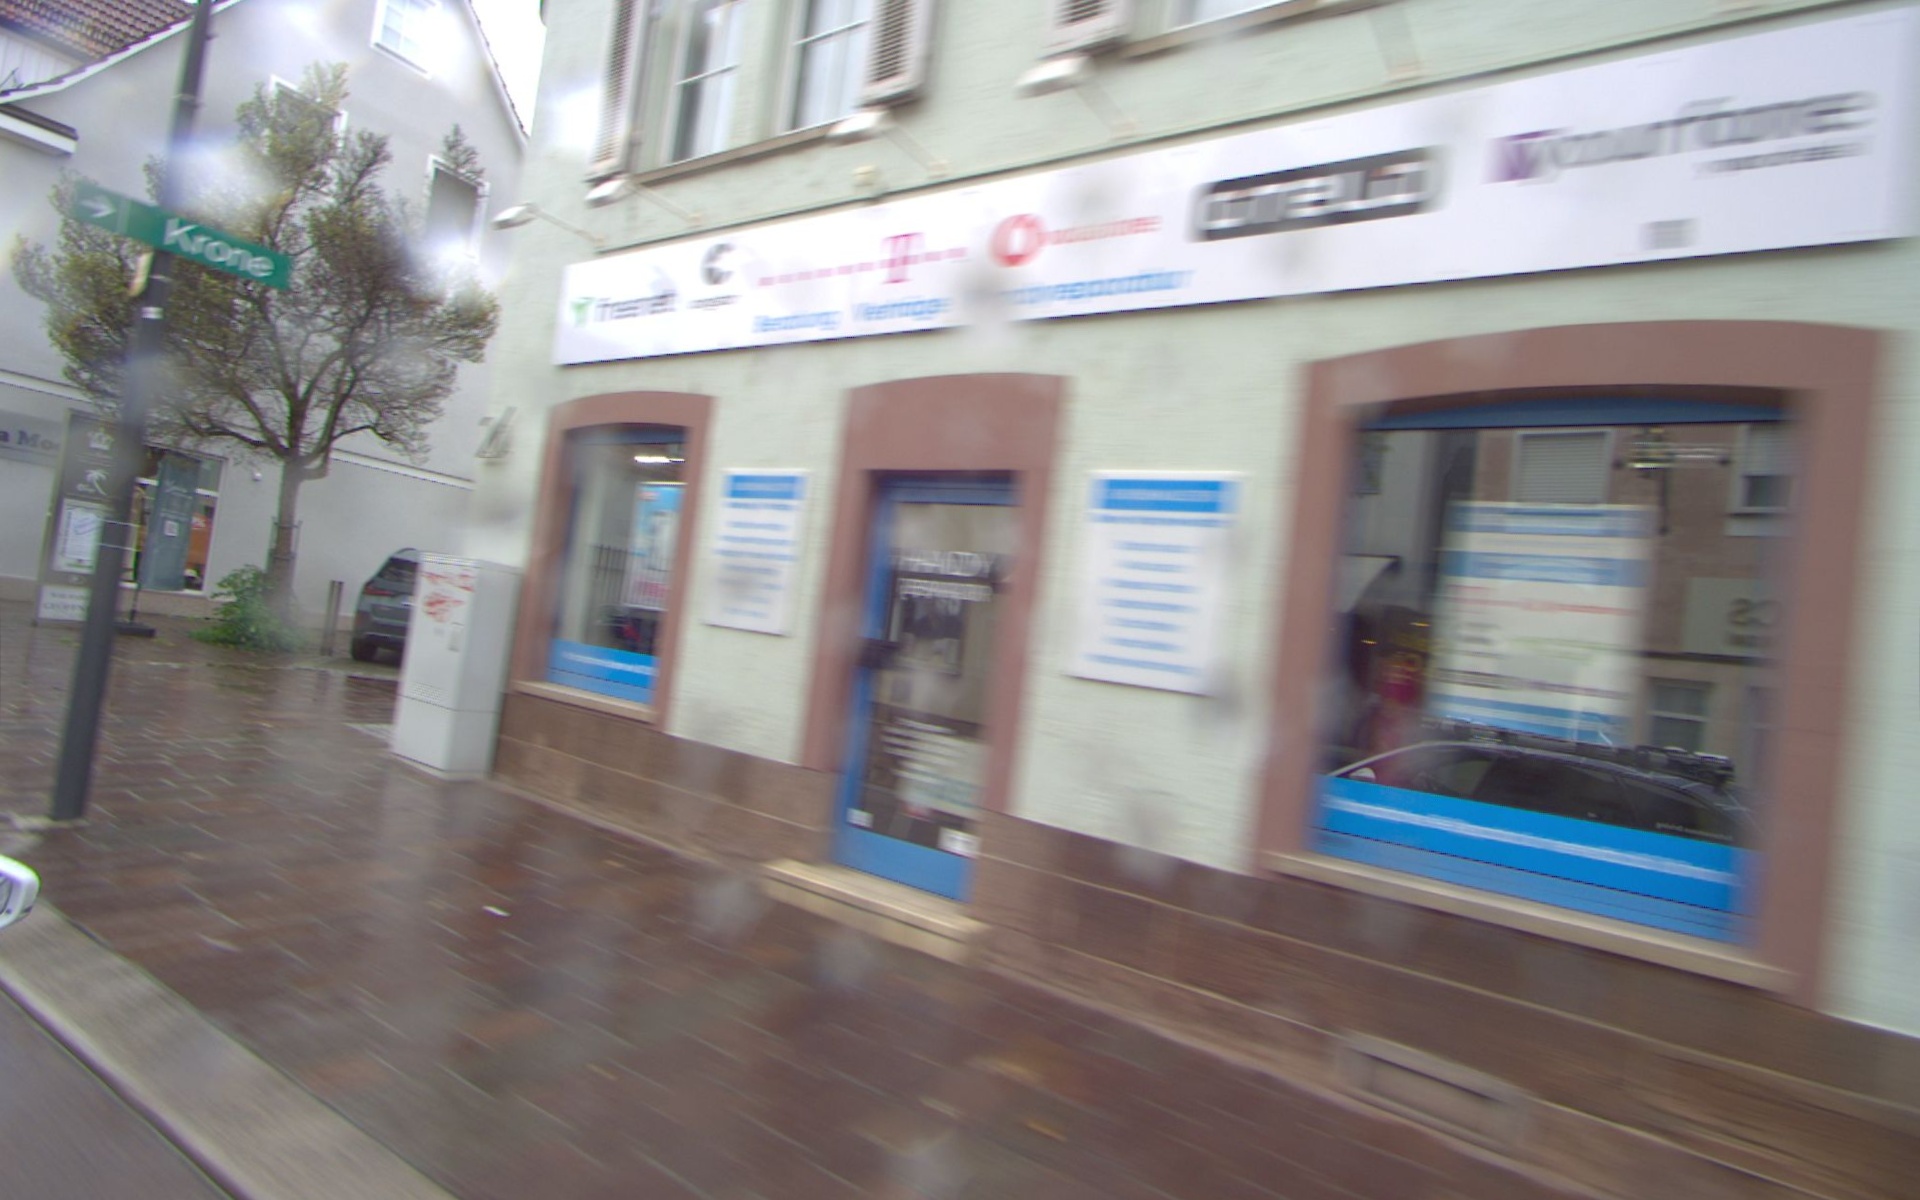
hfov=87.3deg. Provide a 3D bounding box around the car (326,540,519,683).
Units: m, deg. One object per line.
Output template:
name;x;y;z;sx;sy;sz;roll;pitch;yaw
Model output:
car;-7.963;0.145;15.335;1.864;1.617;4.372;9;-2;-21
